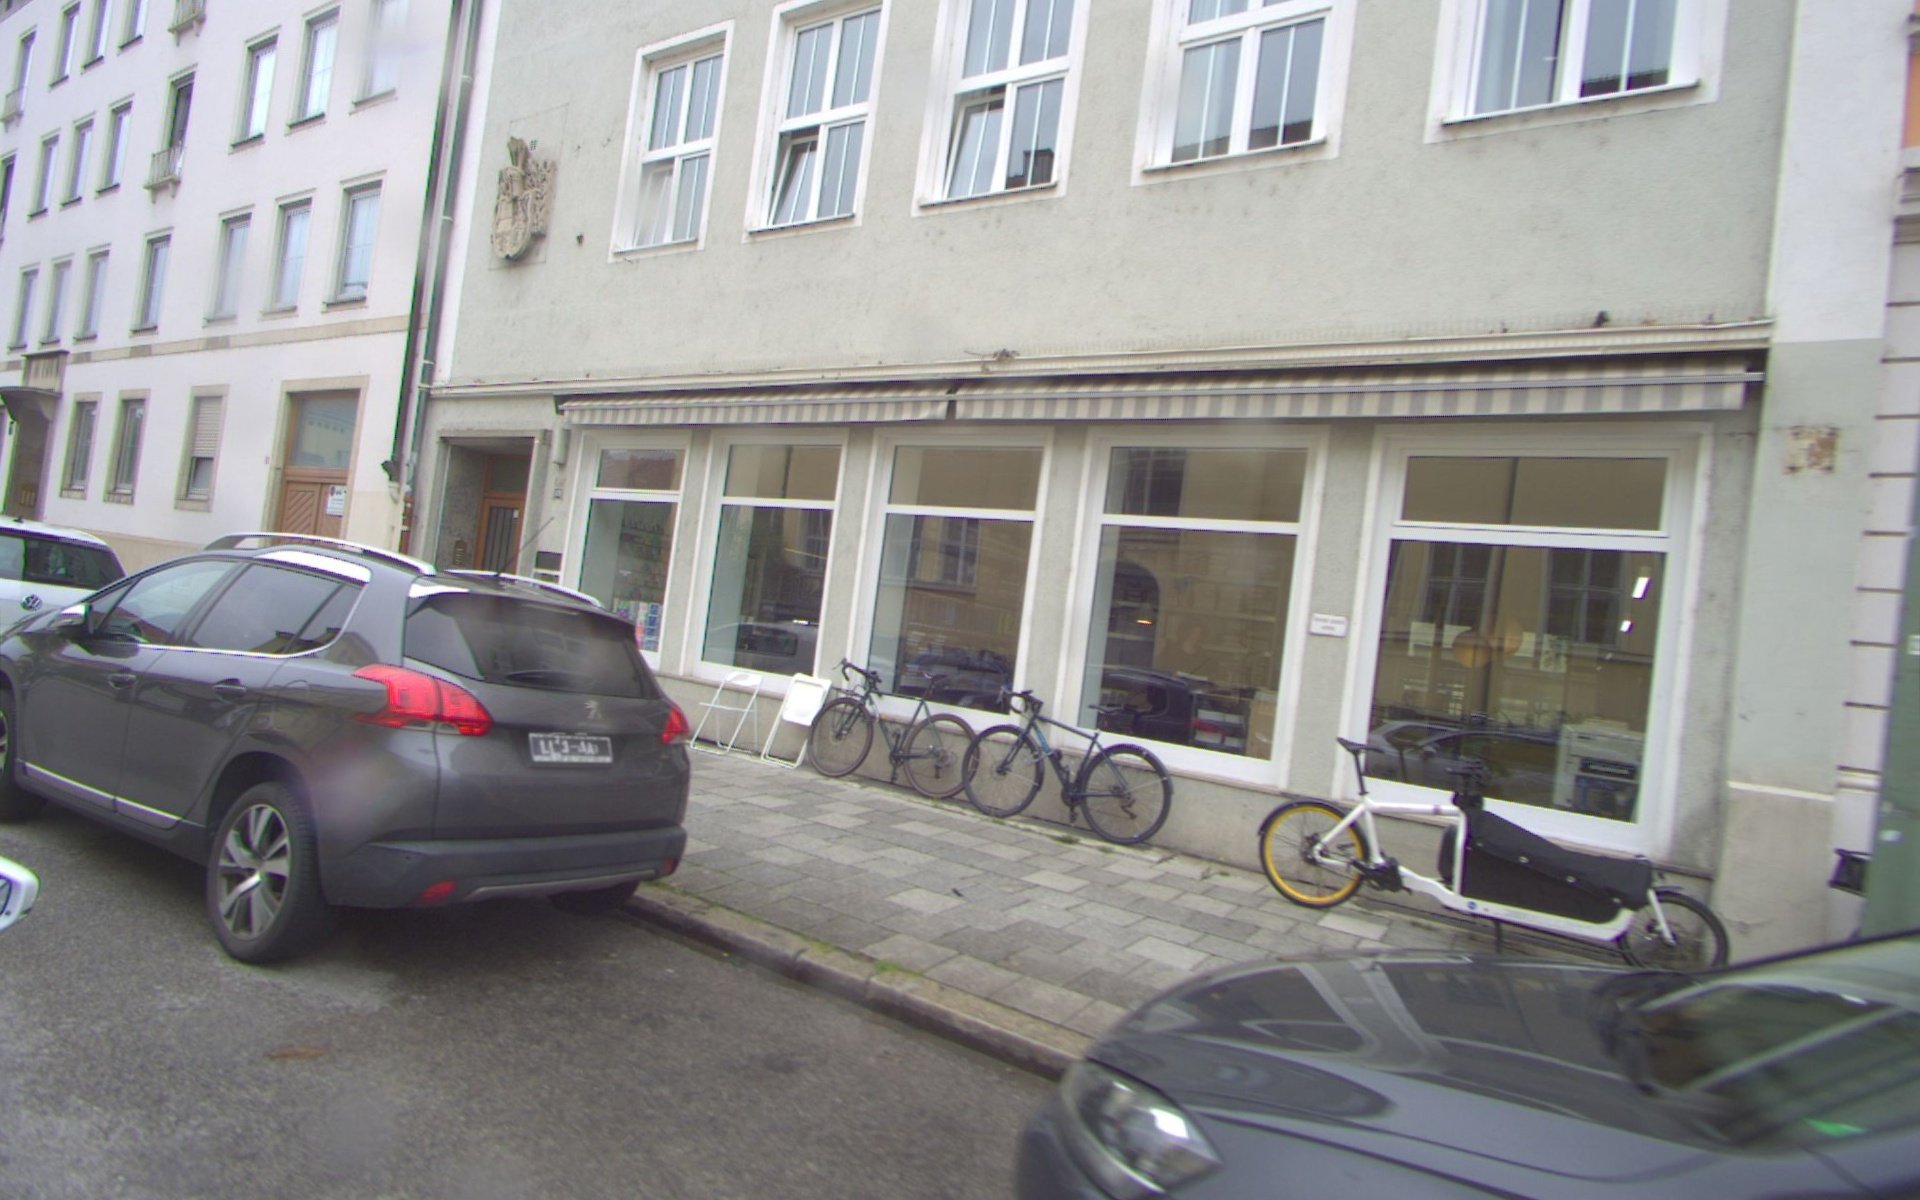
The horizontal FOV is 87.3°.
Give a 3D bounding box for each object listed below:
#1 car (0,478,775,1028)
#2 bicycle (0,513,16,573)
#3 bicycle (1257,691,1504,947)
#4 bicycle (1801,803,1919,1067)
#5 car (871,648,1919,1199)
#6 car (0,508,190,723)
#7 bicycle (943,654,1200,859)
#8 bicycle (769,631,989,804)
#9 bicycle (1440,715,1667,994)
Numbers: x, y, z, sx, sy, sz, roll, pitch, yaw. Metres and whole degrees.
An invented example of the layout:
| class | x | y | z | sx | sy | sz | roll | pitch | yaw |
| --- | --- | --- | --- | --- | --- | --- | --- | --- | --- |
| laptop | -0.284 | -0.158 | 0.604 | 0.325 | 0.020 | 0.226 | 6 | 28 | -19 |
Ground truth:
| class | x | y | z | sx | sy | sz | roll | pitch | yaw |
| --- | --- | --- | --- | --- | --- | --- | --- | --- | --- |
| car | -3.240 | 0.445 | 5.016 | 4.287 | 1.610 | 1.712 | 7 | -3 | 29 |
| bicycle | -21.327 | -1.330 | 21.776 | 1.953 | 1.236 | 0.514 | 7 | -1 | 26 |
| bicycle | 2.502 | 1.266 | 6.045 | 1.212 | 1.270 | 0.248 | 7 | 0 | 28 |
| bicycle | 4.654 | 1.574 | 4.145 | 0.507 | 1.080 | 1.845 | 7 | -1 | -10 |
| car | 2.103 | 1.067 | 1.251 | 4.294 | 1.417 | 1.690 | 6 | -3 | 34 |
| car | -8.365 | -0.070 | 8.274 | 4.456 | 1.444 | 1.677 | 6 | -4 | 33 |
| bicycle | 0.794 | 1.111 | 7.493 | 1.785 | 1.190 | 0.396 | 6 | -2 | 32 |
| bicycle | -0.742 | 0.977 | 8.730 | 1.917 | 1.171 | 0.385 | 7 | -1 | 32 |
| bicycle | 3.154 | 1.323 | 5.403 | 0.900 | 1.270 | 0.248 | 7 | 0 | 28 |
